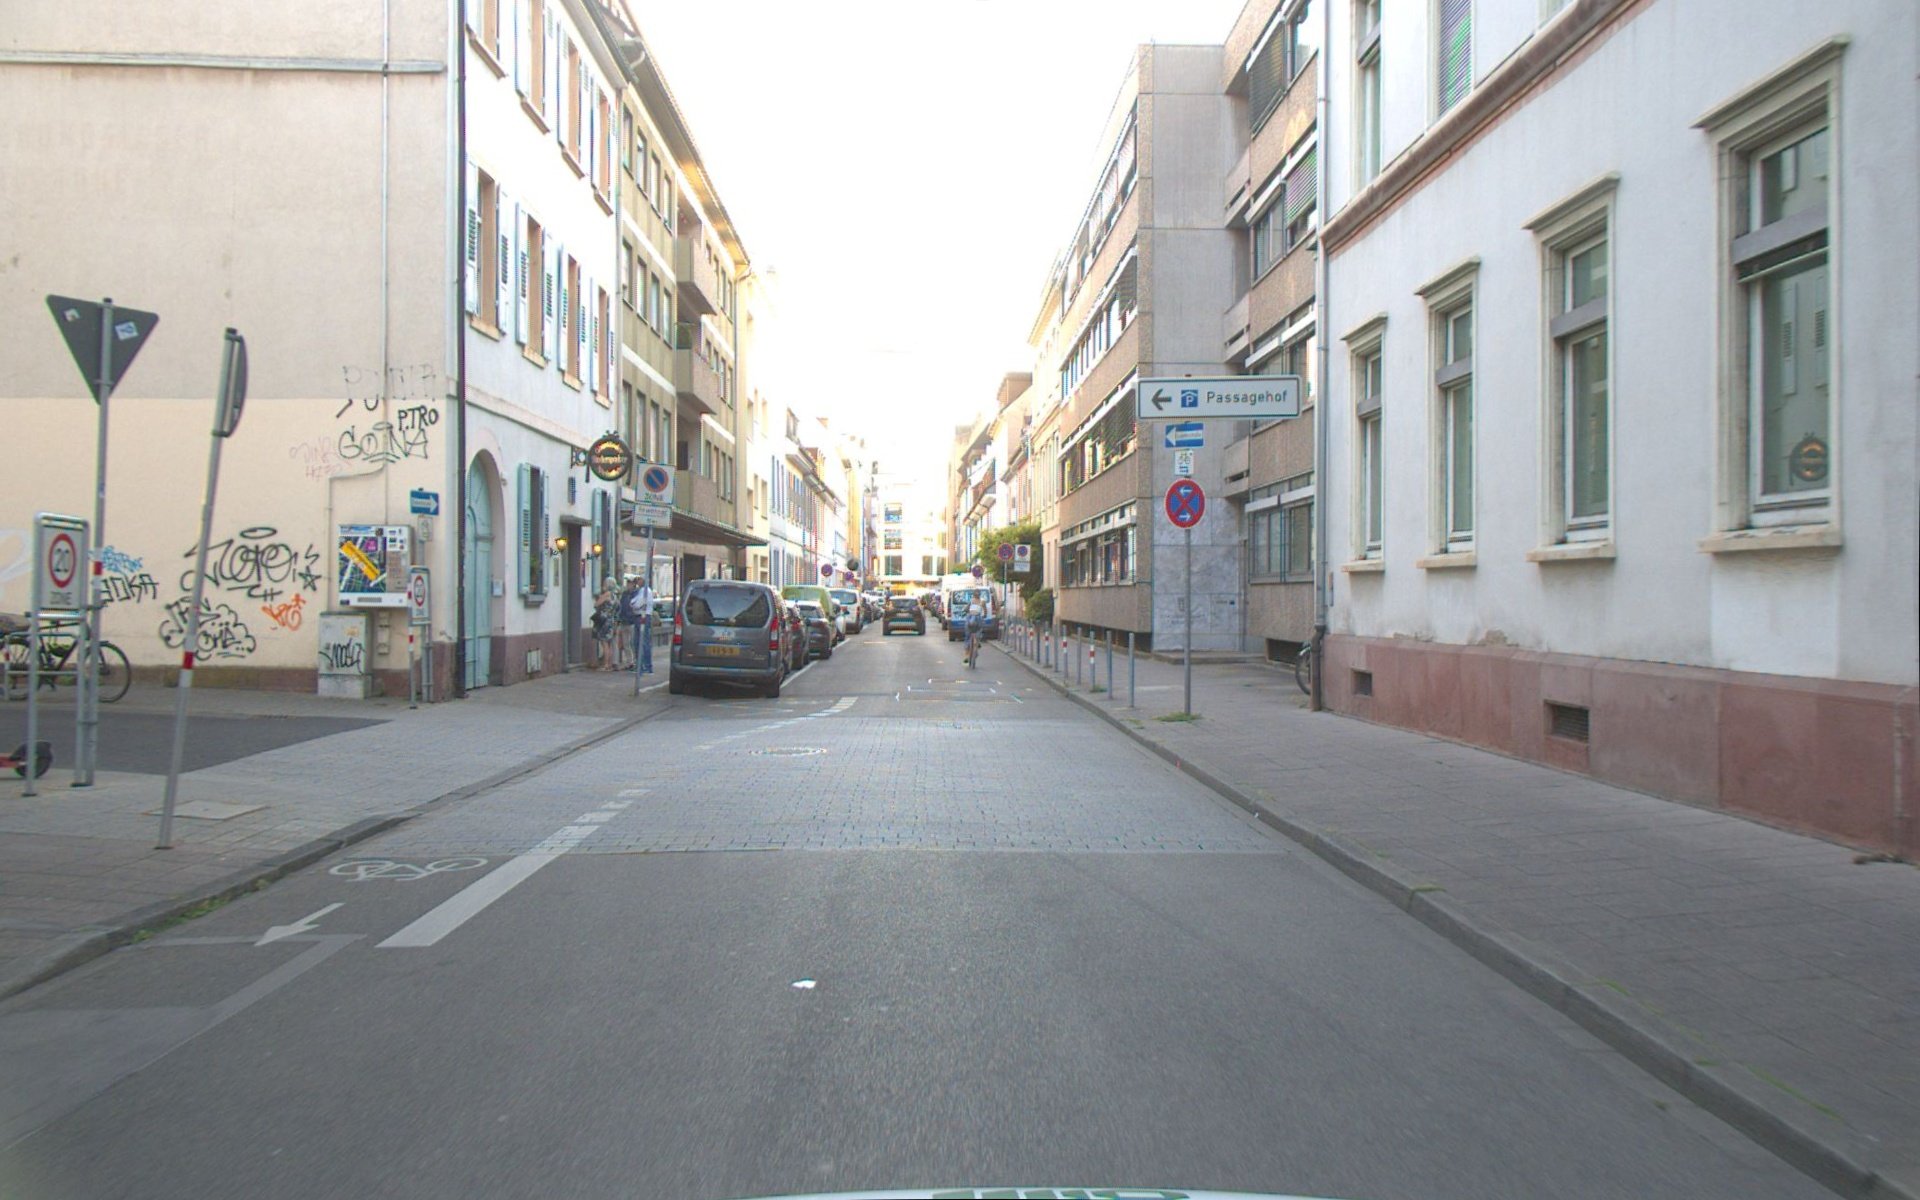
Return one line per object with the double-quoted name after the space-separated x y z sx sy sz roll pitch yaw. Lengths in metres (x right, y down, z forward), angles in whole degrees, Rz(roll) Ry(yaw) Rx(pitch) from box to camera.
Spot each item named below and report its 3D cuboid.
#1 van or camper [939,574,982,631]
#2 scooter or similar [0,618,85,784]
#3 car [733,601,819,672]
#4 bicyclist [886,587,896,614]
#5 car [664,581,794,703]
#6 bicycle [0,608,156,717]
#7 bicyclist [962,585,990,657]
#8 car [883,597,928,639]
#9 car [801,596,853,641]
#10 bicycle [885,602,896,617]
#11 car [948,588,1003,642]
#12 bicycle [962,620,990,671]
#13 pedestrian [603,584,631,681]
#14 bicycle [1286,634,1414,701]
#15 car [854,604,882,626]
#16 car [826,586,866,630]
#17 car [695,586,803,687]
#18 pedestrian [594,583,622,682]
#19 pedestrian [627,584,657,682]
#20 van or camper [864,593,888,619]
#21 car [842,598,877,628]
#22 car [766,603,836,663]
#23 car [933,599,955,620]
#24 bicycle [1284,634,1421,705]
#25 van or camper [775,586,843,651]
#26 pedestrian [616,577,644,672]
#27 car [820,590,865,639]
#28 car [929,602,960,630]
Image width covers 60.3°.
-0.004 0.104 81.432 2.008 2.684 7.061 0 0 -1 "van or camper"
-7.408 0.740 12.458 1.344 1.222 0.528 4 -2 -26 "scooter or similar"
-4.121 0.800 37.486 1.591 1.511 3.876 0 0 -1 "car"
-4.258 0.026 102.117 0.611 1.668 1.081 1 -1 -1 "bicyclist"
-3.766 0.651 27.581 1.840 1.843 4.446 1 0 -4 "car"
-10.578 0.723 19.604 1.885 1.238 0.628 0 -1 13 "bicycle"
0.362 0.476 37.454 0.608 1.602 0.683 1 -1 -1 "bicyclist"
-2.278 0.744 69.352 1.783 1.646 3.998 1 0 -2 "car"
-4.789 0.670 59.743 1.628 1.474 3.519 3 0 -2 "car"
-4.279 0.576 102.146 0.621 0.938 1.779 1 0 -1 "bicycle"
0.530 0.541 61.490 1.897 1.931 5.275 0 0 -1 "car"
0.355 1.011 37.370 0.601 1.101 1.809 1 0 -1 "bicycle"
-6.347 0.592 30.625 0.398 1.780 0.470 1 -1 0 "pedestrian"
5.548 0.958 23.567 1.707 0.939 0.537 1 -1 -9 "bicycle"
-6.359 1.040 114.561 1.880 1.459 4.291 1 0 -3 "car"
-5.426 0.374 79.376 1.825 2.049 4.811 0 0 -3 "car"
-4.099 0.673 32.703 1.737 1.843 4.508 1 0 -3 "car"
-6.411 0.589 30.136 0.398 1.780 0.470 1 -1 0 "pedestrian"
-5.844 0.596 30.399 0.440 1.780 0.470 1 -1 0 "pedestrian"
-6.950 0.497 136.748 1.807 2.048 4.677 1 0 -1 "van or camper"
-5.863 0.761 96.830 1.766 1.706 4.489 0 0 0 "car"
-4.028 0.809 42.460 1.592 1.441 3.978 1 0 -3 "car"
-1.291 0.763 131.608 1.620 1.588 3.604 1 0 -1 "car"
5.391 0.952 22.746 1.762 0.939 0.537 1 -1 -10 "bicycle"
-4.559 0.547 50.498 1.736 1.880 4.177 0 0 -1 "van or camper"
-6.221 0.458 31.188 0.398 1.780 0.470 1 -1 0 "pedestrian"
-5.123 0.607 72.588 1.825 2.049 5.103 0 0 -3 "car"
-0.922 0.984 101.244 1.782 1.556 5.070 -3 0 0 "car"
